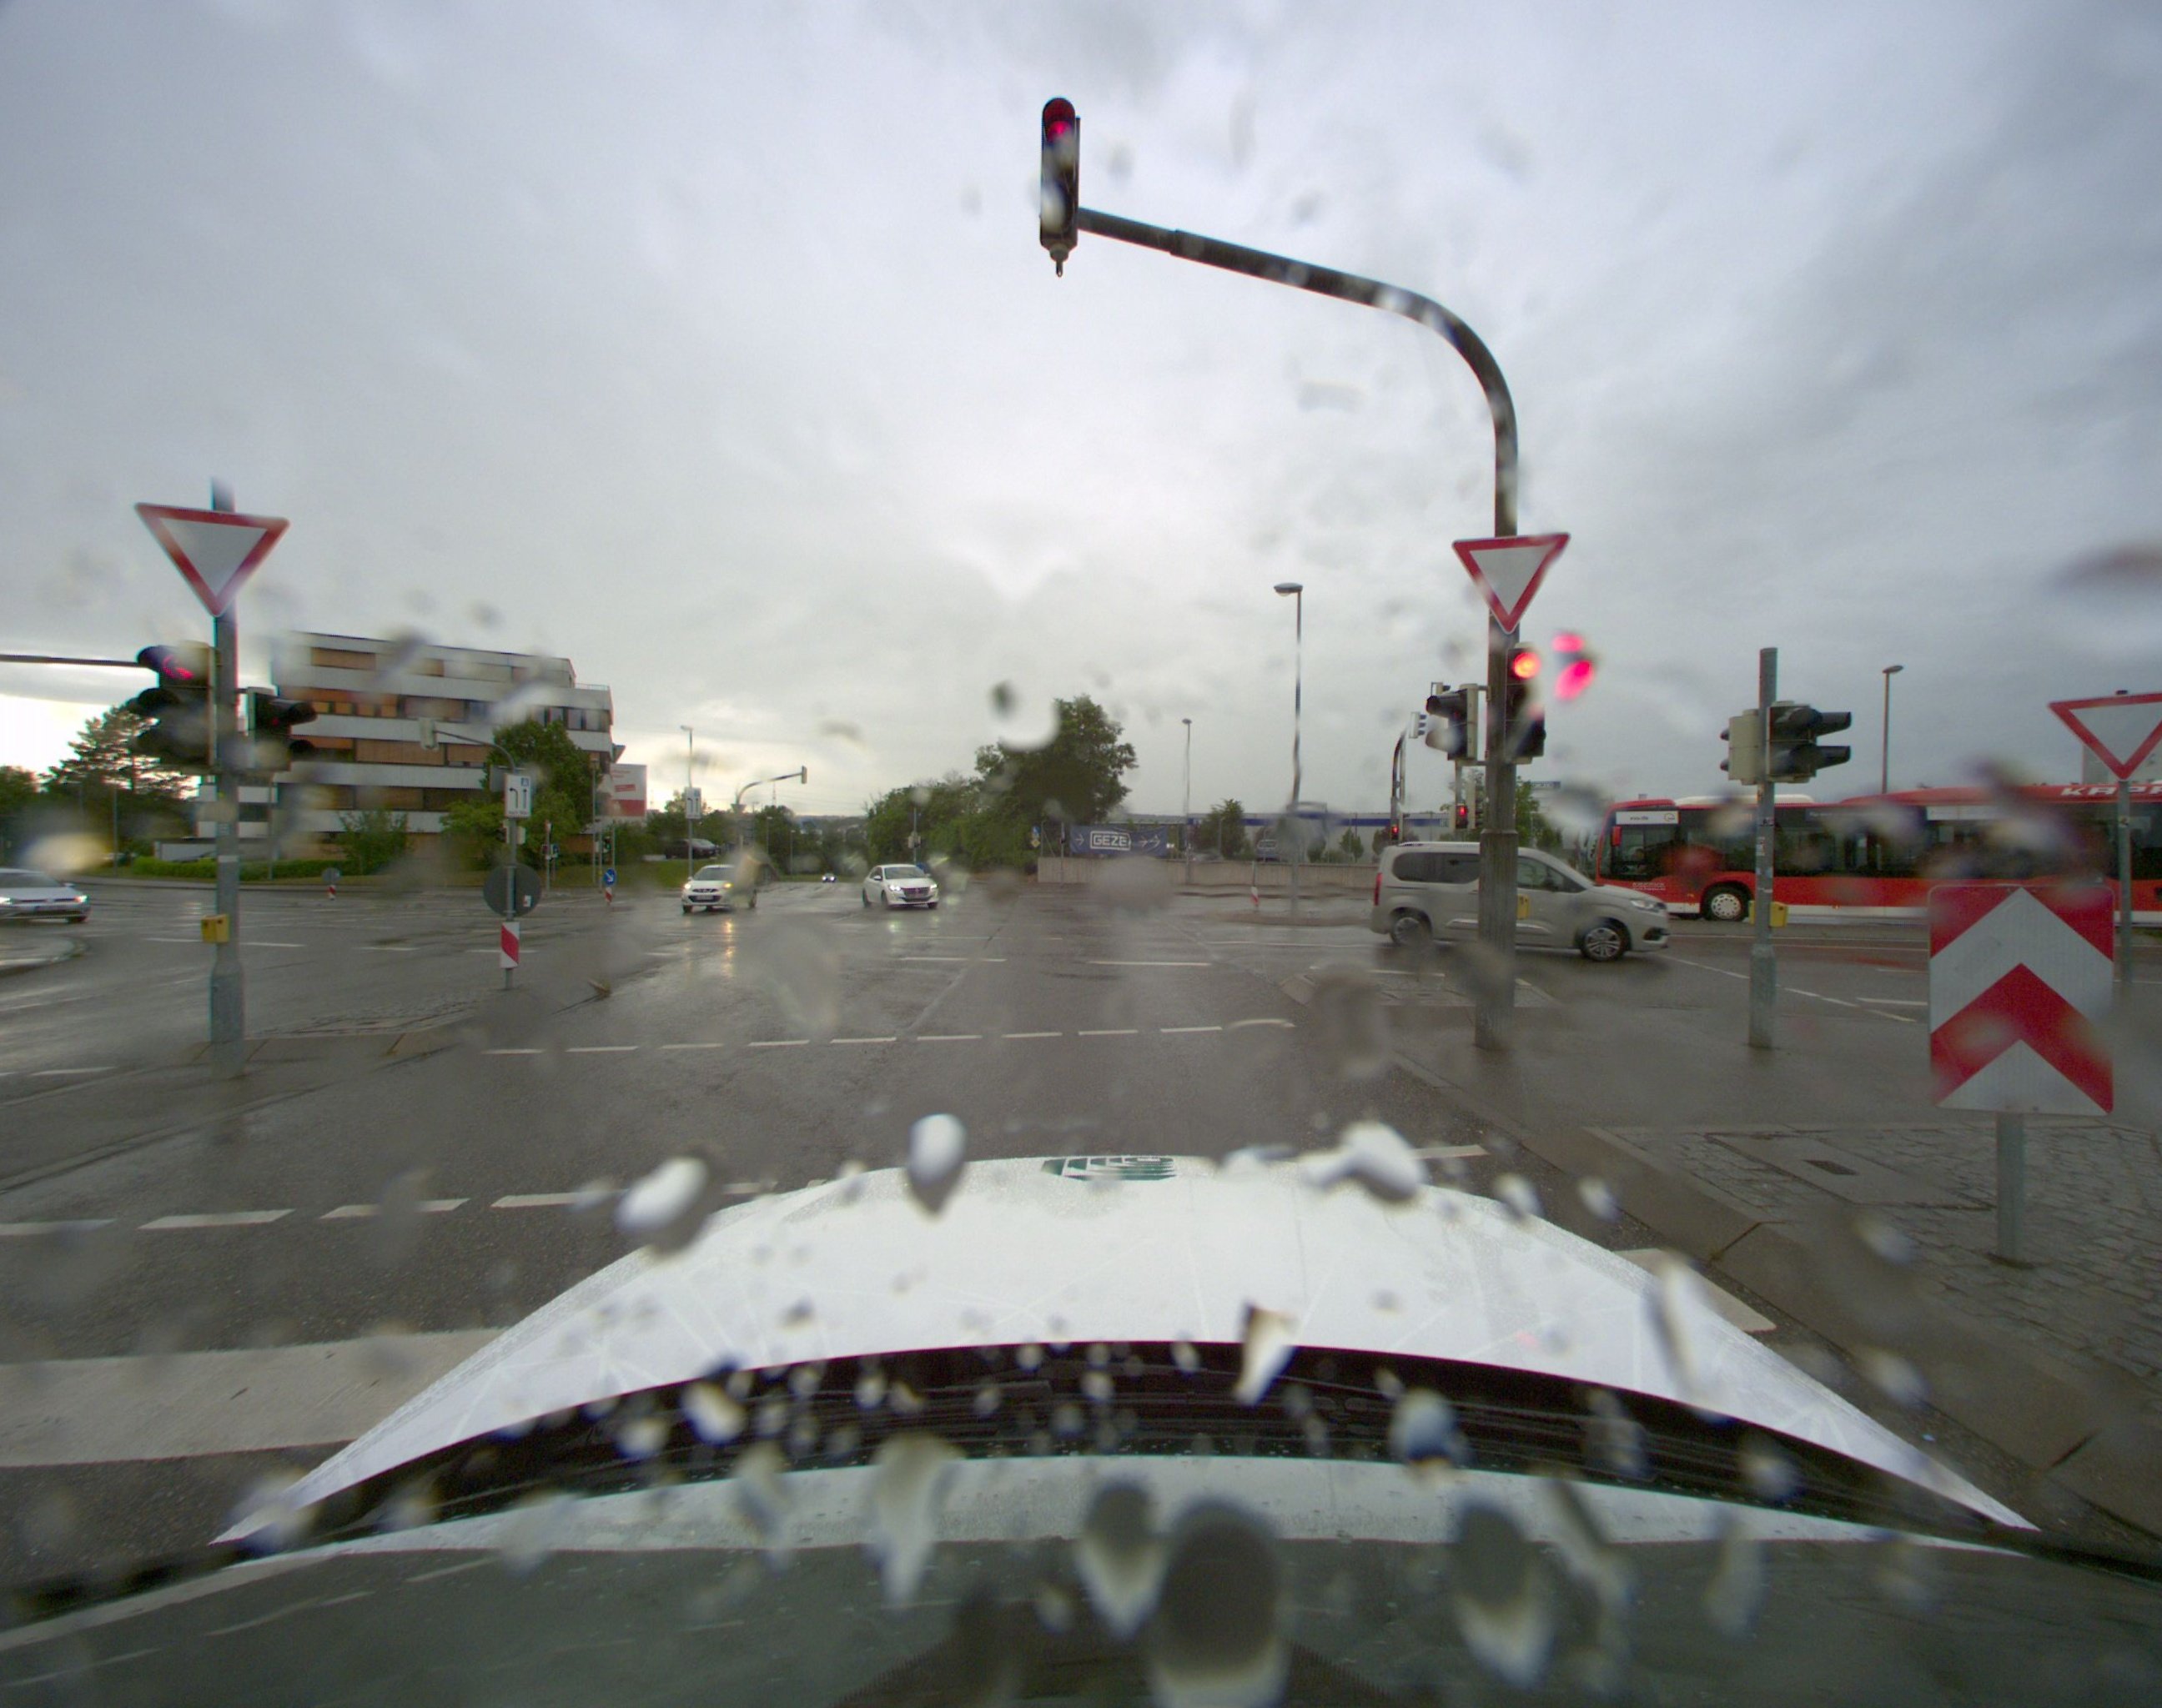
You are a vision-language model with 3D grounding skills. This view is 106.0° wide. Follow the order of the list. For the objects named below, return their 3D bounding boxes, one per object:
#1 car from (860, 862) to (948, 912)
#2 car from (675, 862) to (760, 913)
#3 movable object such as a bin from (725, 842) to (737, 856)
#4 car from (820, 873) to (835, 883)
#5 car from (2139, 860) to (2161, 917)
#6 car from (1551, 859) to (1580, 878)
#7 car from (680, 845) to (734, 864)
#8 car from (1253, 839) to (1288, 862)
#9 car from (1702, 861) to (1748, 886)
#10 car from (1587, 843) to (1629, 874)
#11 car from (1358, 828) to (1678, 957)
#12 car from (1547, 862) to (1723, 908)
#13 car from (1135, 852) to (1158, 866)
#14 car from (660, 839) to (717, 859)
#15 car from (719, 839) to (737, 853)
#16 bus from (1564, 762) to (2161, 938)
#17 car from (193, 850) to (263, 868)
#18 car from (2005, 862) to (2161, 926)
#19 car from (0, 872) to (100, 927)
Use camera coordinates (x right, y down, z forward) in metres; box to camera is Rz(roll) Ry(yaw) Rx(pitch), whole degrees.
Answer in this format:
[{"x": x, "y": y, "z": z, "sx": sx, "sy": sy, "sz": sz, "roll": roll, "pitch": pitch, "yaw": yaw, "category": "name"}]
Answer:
[{"x": -5.979, "y": 1.034, "z": 27.186, "sx": 1.876, "sy": 1.508, "sz": 3.944, "roll": 0, "pitch": -1, "yaw": -29, "category": "car"}, {"x": -12.287, "y": 1.082, "z": 27.744, "sx": 1.619, "sy": 1.505, "sz": 3.811, "roll": -2, "pitch": 0, "yaw": -8, "category": "car"}, {"x": -37.759, "y": -0.507, "z": 87.874, "sx": 1.089, "sy": 1.437, "sz": 1.434, "roll": 1, "pitch": -3, "yaw": -25, "category": "movable object such as a bin"}, {"x": -39.331, "y": 3.718, "z": 126.447, "sx": 1.661, "sy": 1.494, "sz": 3.987, "roll": 0, "pitch": -1, "yaw": -9, "category": "car"}, {"x": 31.680, "y": 0.957, "z": 21.474, "sx": 4.344, "sy": 1.538, "sz": 1.834, "roll": 0, "pitch": 0, "yaw": 18, "category": "car"}, {"x": 43.190, "y": 1.269, "z": 72.686, "sx": 1.905, "sy": 1.589, "sz": 3.811, "roll": 0, "pitch": 0, "yaw": 25, "category": "car"}, {"x": -33.064, "y": 0.079, "z": 72.089, "sx": 3.958, "sy": 1.586, "sz": 1.909, "roll": 0, "pitch": -2, "yaw": 14, "category": "car"}, {"x": 13.353, "y": -0.230, "z": 57.273, "sx": 1.727, "sy": 1.553, "sz": 3.550, "roll": -1, "pitch": -1, "yaw": 23, "category": "car"}, {"x": 52.993, "y": 1.587, "z": 67.080, "sx": 1.976, "sy": 2.014, "sz": 4.022, "roll": -1, "pitch": -1, "yaw": 24, "category": "car"}, {"x": 35.616, "y": 0.308, "z": 55.076, "sx": 1.727, "sy": 2.014, "sz": 3.844, "roll": -1, "pitch": -1, "yaw": 23, "category": "car"}, {"x": 7.180, "y": 0.569, "z": 13.670, "sx": 4.426, "sy": 1.844, "sz": 2.013, "roll": -1, "pitch": -1, "yaw": 32, "category": "car"}, {"x": 17.631, "y": 0.961, "z": 26.145, "sx": 4.344, "sy": 1.354, "sz": 1.834, "roll": 0, "pitch": 0, "yaw": 18, "category": "car"}, {"x": 7.767, "y": 0.601, "z": 95.890, "sx": 1.651, "sy": 1.606, "sz": 3.550, "roll": -1, "pitch": -1, "yaw": 23, "category": "car"}, {"x": -33.427, "y": -0.421, "z": 69.339, "sx": 3.962, "sy": 1.586, "sz": 1.907, "roll": 0, "pitch": -2, "yaw": 10, "category": "car"}, {"x": -41.754, "y": -0.959, "z": 96.217, "sx": 1.836, "sy": 1.442, "sz": 3.967, "roll": 1, "pitch": -2, "yaw": -25, "category": "car"}, {"x": 18.726, "y": -0.175, "z": 19.248, "sx": 12.152, "sy": 3.576, "sz": 3.001, "roll": 2, "pitch": 0, "yaw": 19, "category": "bus"}, {"x": -70.231, "y": 0.390, "z": 67.160, "sx": 3.779, "sy": 1.399, "sz": 1.977, "roll": 0, "pitch": 0, "yaw": -40, "category": "car"}, {"x": 26.404, "y": 0.965, "z": 20.126, "sx": 4.316, "sy": 1.507, "sz": 2.013, "roll": 0, "pitch": 0, "yaw": 32, "category": "car"}, {"x": -28.729, "y": 1.173, "z": 21.789, "sx": 4.479, "sy": 1.363, "sz": 1.771, "roll": -1, "pitch": -1, "yaw": 20, "category": "car"}]
